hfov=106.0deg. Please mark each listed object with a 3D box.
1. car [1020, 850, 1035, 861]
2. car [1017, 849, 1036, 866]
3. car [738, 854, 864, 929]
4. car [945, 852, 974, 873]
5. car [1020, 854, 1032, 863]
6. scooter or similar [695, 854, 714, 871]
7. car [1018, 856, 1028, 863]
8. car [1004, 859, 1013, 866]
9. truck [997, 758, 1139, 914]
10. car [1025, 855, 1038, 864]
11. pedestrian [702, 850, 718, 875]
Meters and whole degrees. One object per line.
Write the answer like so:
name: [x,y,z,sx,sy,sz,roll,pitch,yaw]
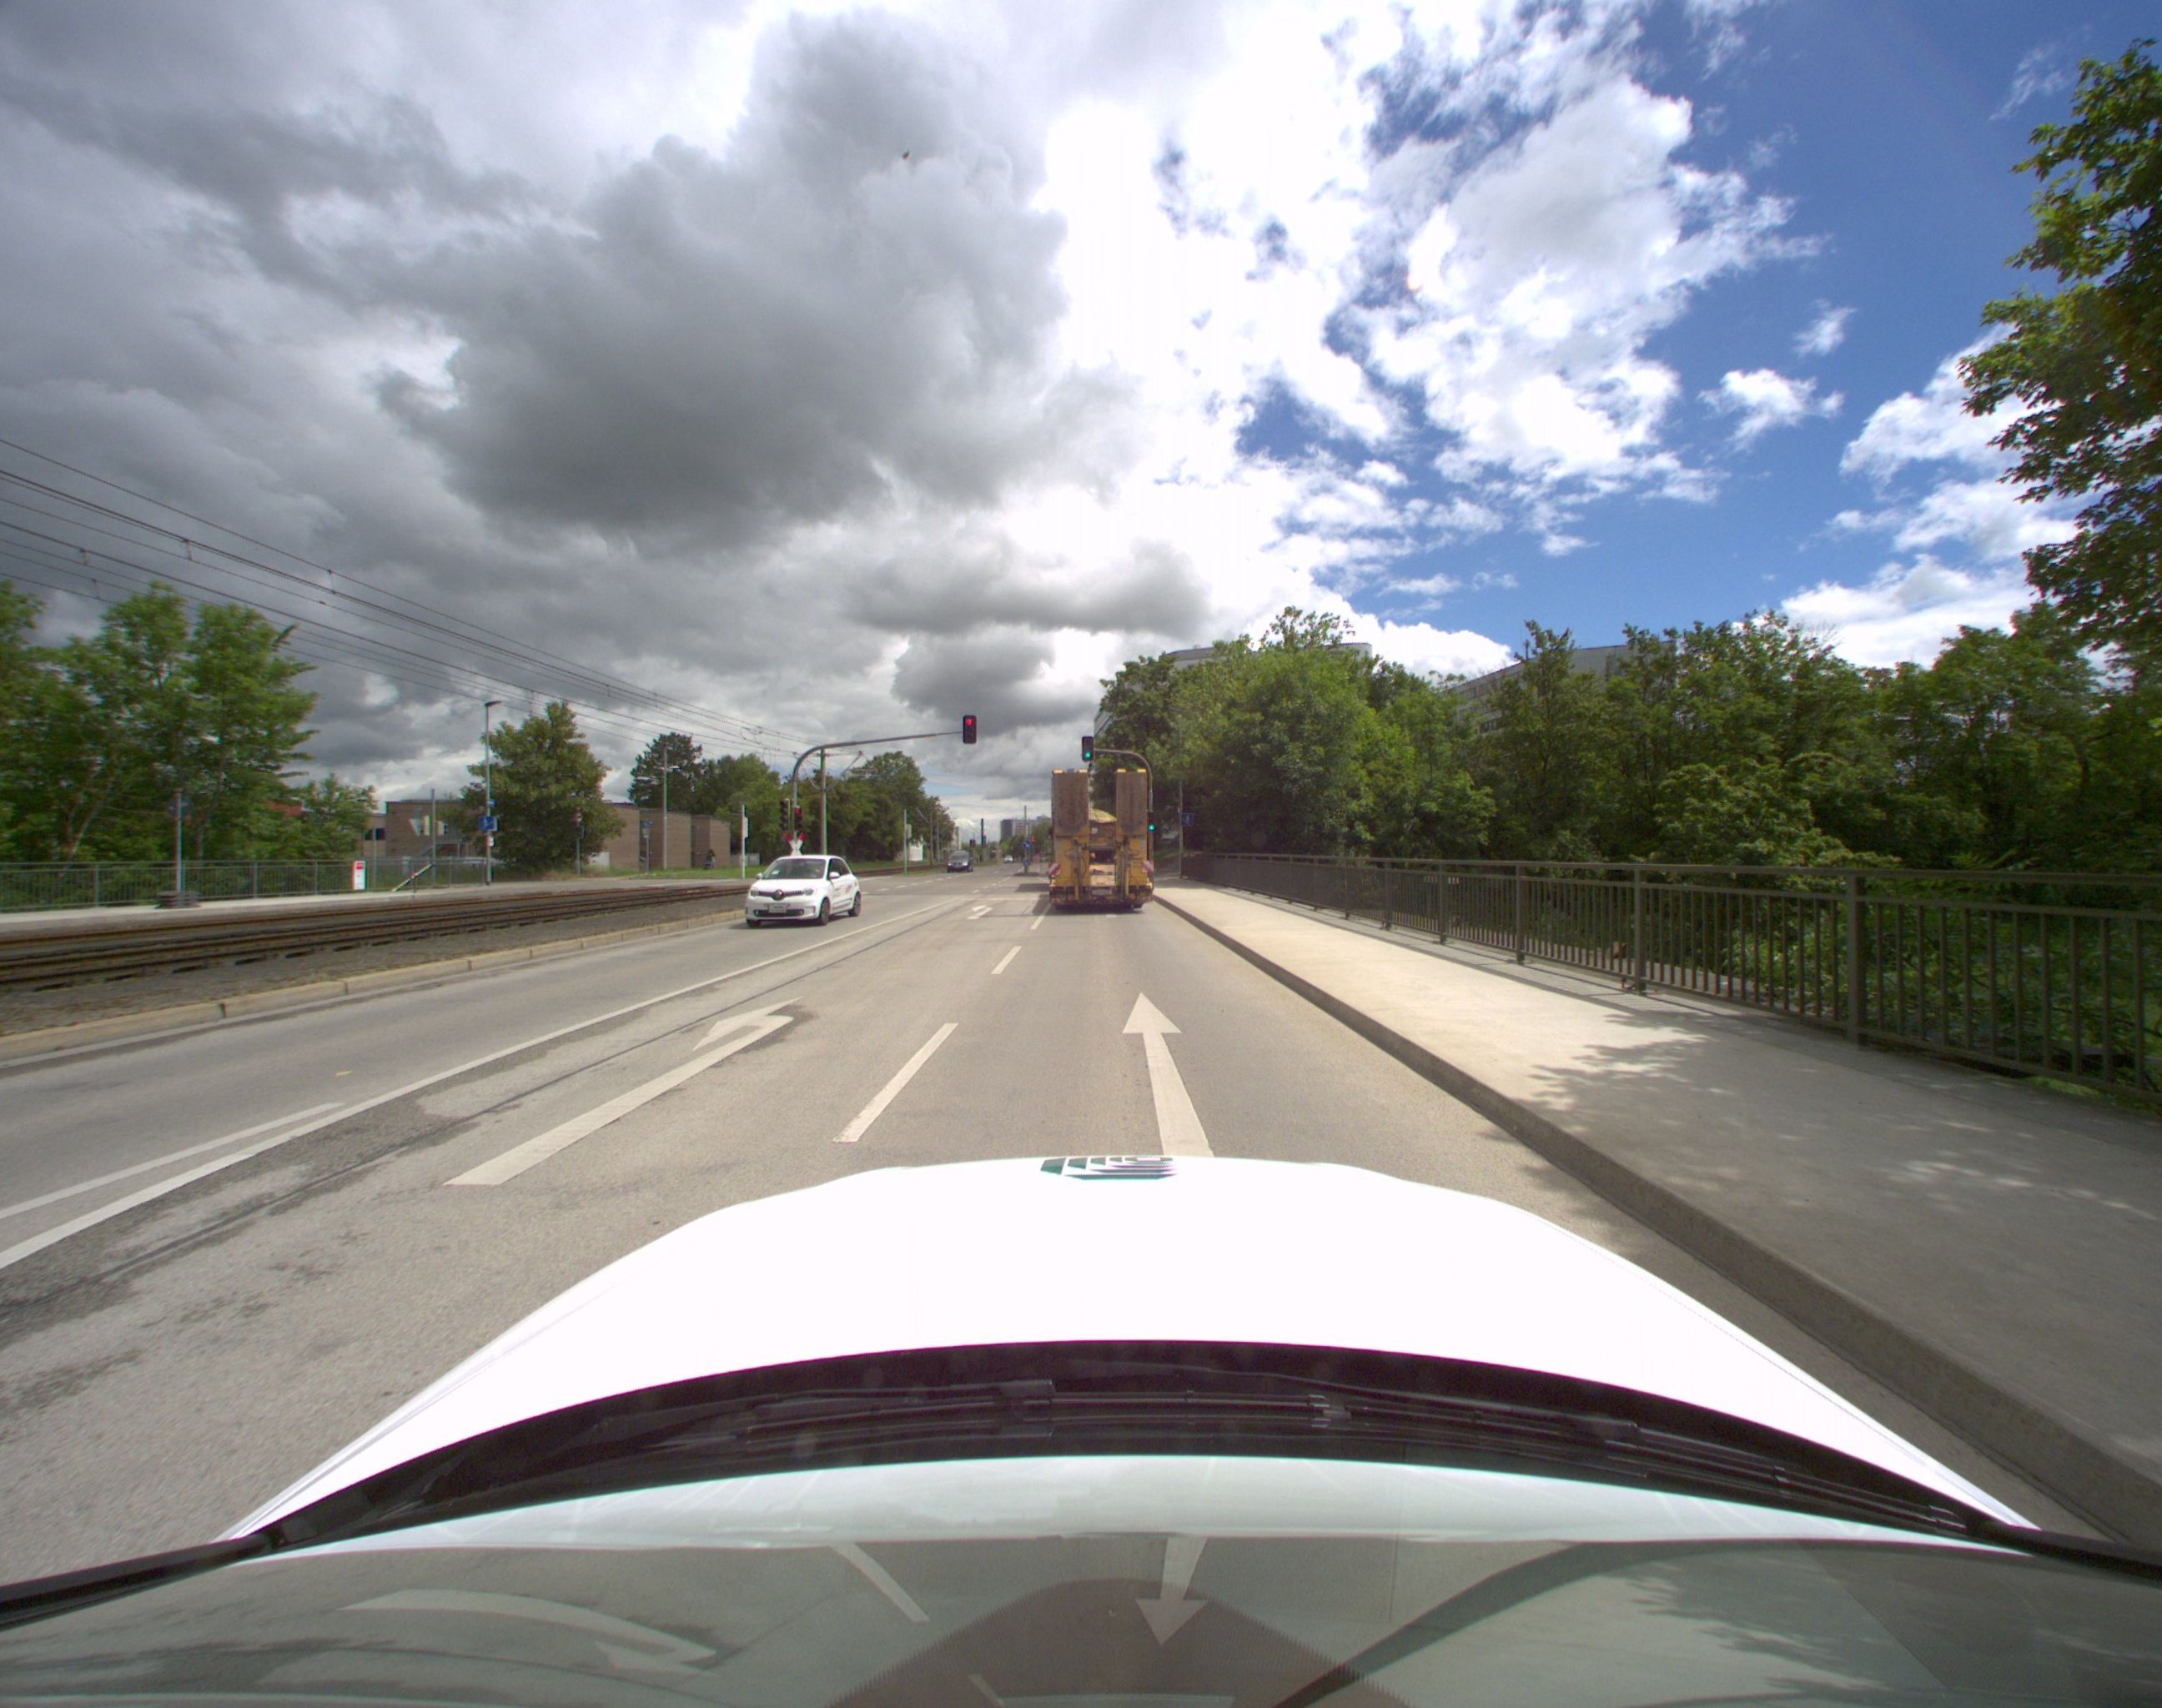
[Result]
car: [-7.733,0.197,118.215,1.988,1.420,3.997,2,0,-2]
car: [-6.340,0.417,95.043,1.988,1.925,3.997,2,0,-2]
car: [-6.256,0.775,18.616,1.588,1.527,3.655,0,0,0]
car: [-9.582,0.649,64.362,1.779,1.570,4.341,0,0,-2]
car: [-10.253,0.860,152.765,1.988,1.618,3.998,2,0,-2]
scooter or similar: [-28.254,0.635,61.095,0.887,1.184,0.972,2,0,0]
car: [-11.126,1.046,156.983,1.779,1.271,4.341,0,0,-2]
car: [-15.428,1.818,173.938,1.779,1.271,4.341,0,0,-2]
truck: [0.102,-0.431,25.633,3.301,3.651,12.574,1,0,4]
car: [-7.768,0.831,128.208,1.988,1.420,3.997,2,0,-2]
pedestrian: [-28.236,0.635,61.938,0.798,1.811,0.809,2,0,2]
